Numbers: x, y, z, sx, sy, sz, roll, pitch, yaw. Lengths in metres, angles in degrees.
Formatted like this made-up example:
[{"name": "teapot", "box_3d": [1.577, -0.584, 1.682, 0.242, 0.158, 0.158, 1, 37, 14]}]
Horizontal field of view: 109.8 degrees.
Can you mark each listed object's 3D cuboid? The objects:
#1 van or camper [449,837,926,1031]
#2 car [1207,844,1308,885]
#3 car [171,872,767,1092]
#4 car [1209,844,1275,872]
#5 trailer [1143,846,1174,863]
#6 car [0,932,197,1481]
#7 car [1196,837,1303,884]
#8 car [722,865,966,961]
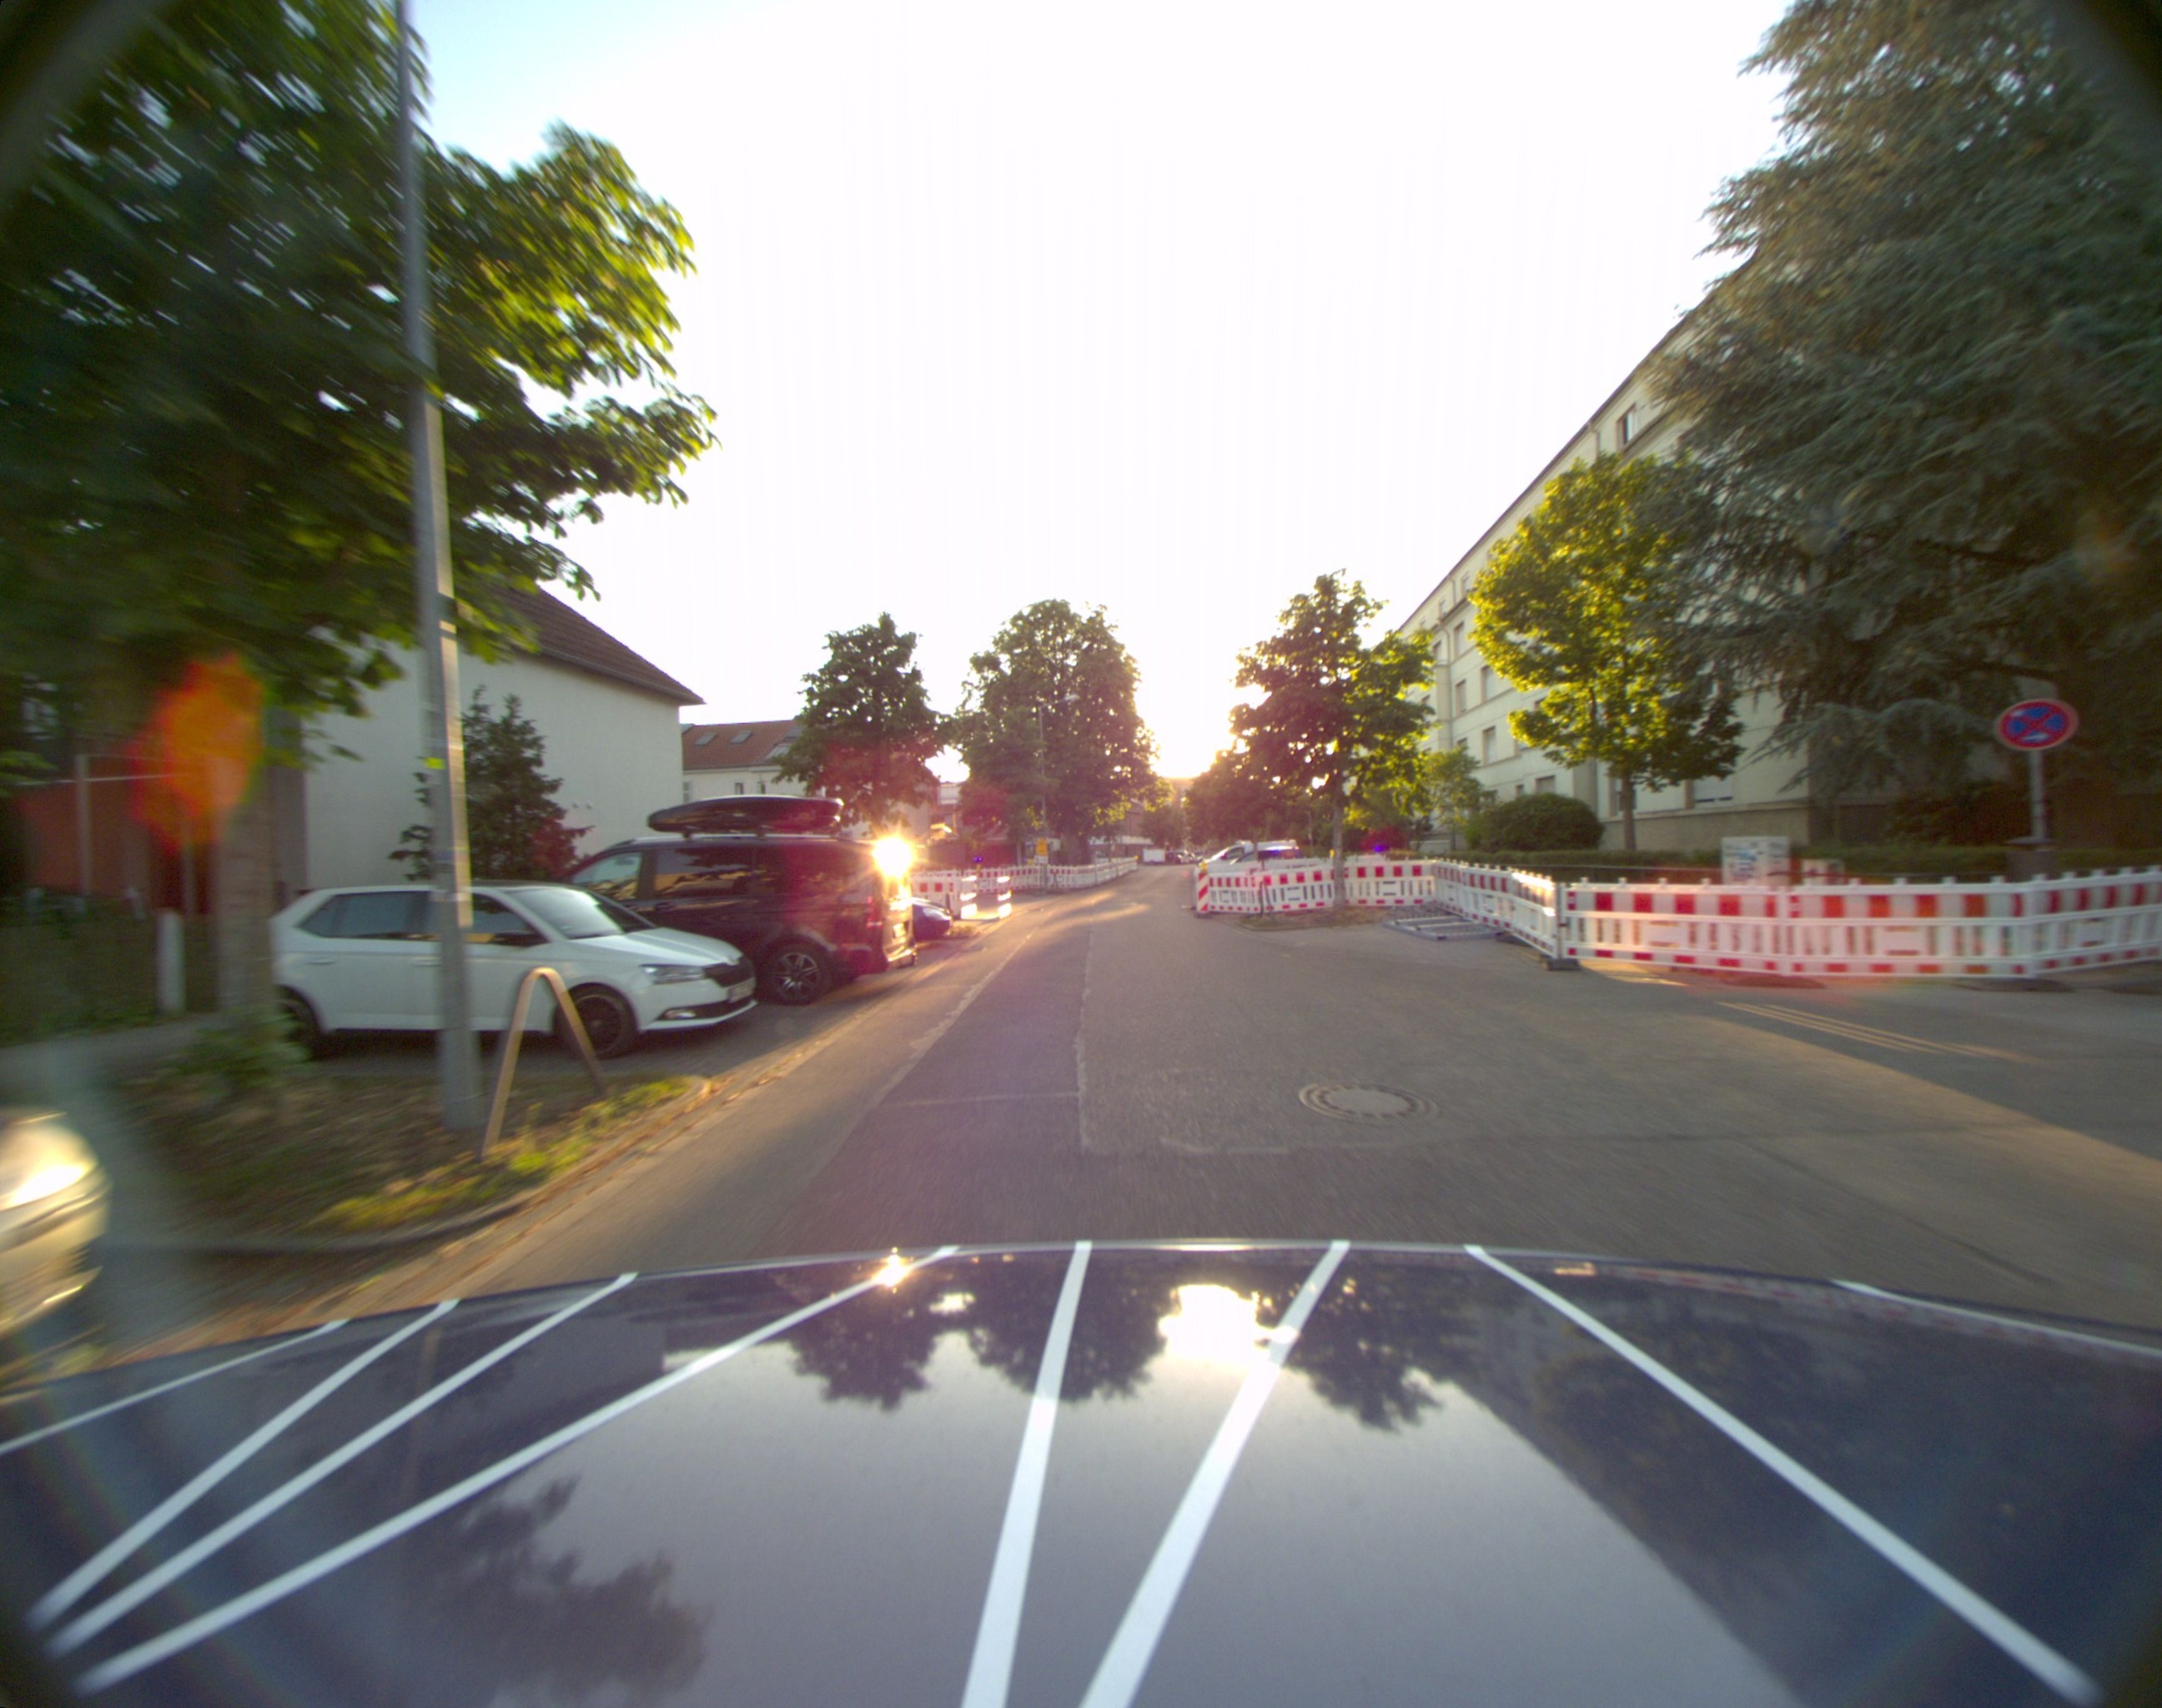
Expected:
[{"name": "van or camper", "box_3d": [-4.463, 0.855, 9.299, 4.659, 1.942, 2.094, -2, 1, -1]}, {"name": "car", "box_3d": [7.802, 0.448, 33.920, 4.129, 1.674, 2.001, -2, 1, 6]}, {"name": "car", "box_3d": [-5.036, 1.007, 6.647, 3.841, 1.535, 1.629, -2, 1, 1]}, {"name": "car", "box_3d": [10.749, 0.266, 51.099, 4.129, 1.674, 2.001, -2, 1, 6]}, {"name": "trailer", "box_3d": [10.181, 0.062, 99.247, 3.682, 2.056, 2.002, -2, 0, 15]}, {"name": "car", "box_3d": [-5.097, 1.029, 1.839, 4.064, 1.492, 1.770, -1, 0, 5]}, {"name": "car", "box_3d": [8.043, 0.316, 36.667, 4.785, 2.058, 2.001, -2, 1, 6]}, {"name": "car", "box_3d": [-4.376, 1.073, 14.463, 3.996, 1.551, 1.793, -2, 1, 2]}]
